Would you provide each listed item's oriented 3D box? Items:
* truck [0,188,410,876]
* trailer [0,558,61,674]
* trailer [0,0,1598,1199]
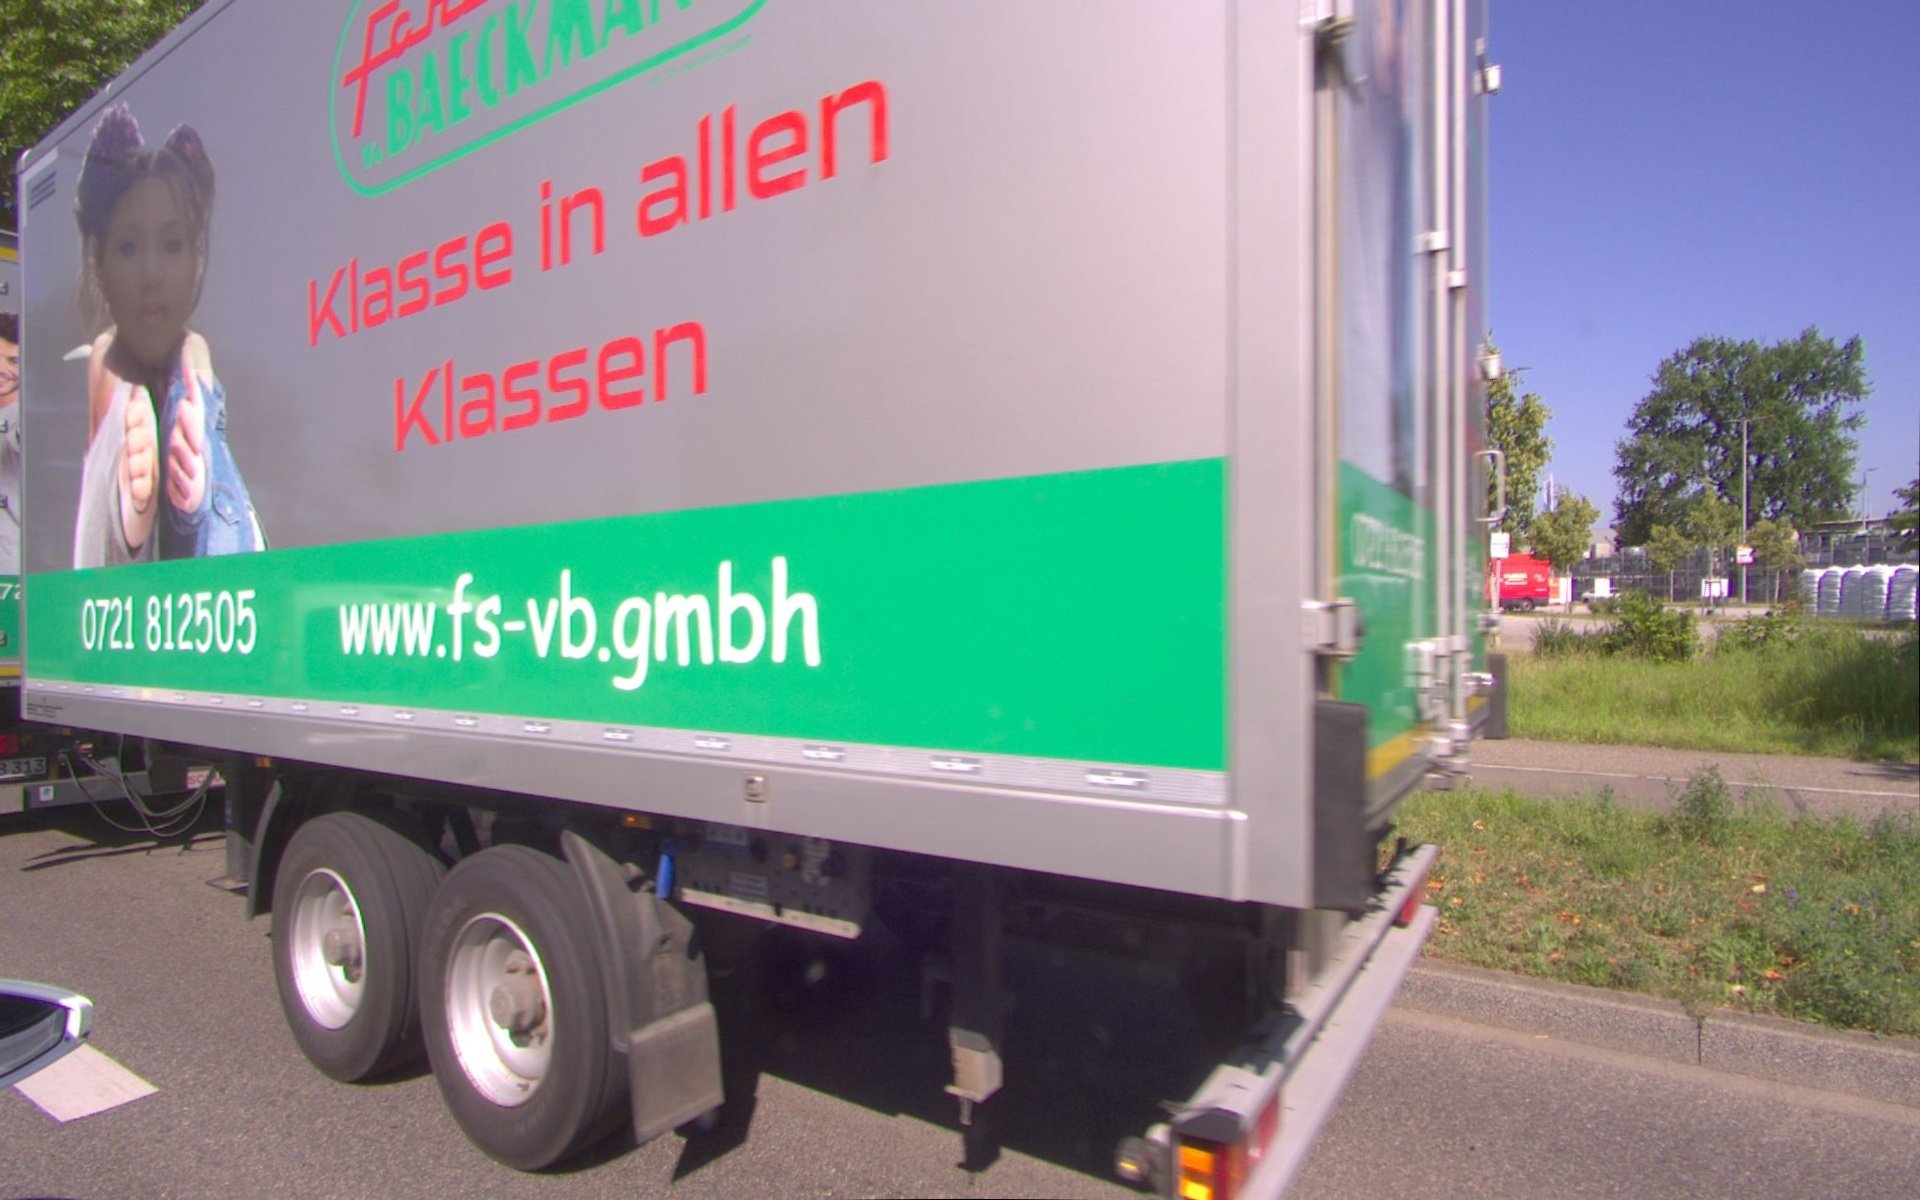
[{"bbox_3d":[-8.496,-0.289,8.959,8.606,3.940,2.722,-2,-1,35],"label":"truck"},{"bbox_3d":[-30.757,0.393,28.680,2.860,3.668,12.659,0,-2,-20],"label":"trailer"},{"bbox_3d":[-1.825,-0.483,4.323,7.631,3.927,2.729,-1,0,34],"label":"trailer"}]
